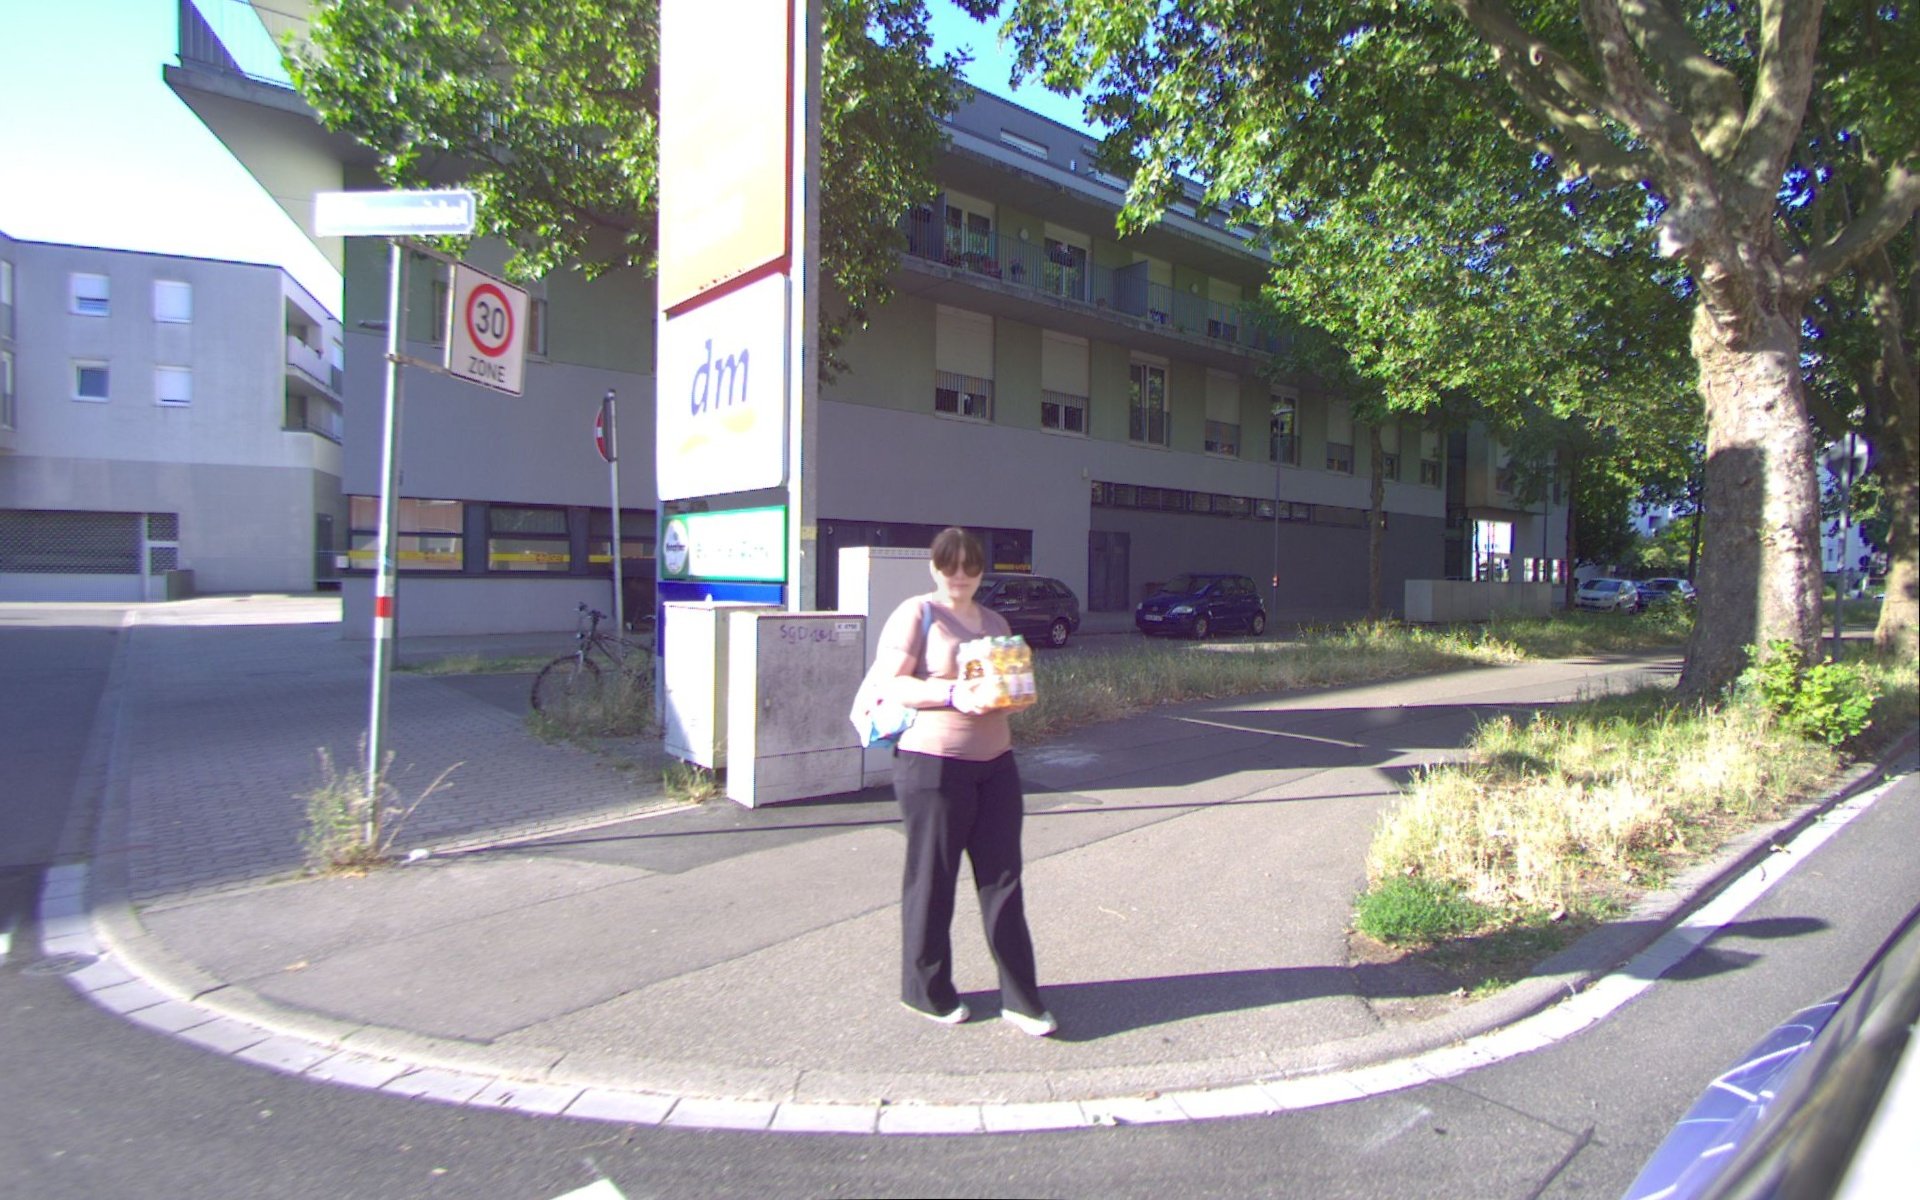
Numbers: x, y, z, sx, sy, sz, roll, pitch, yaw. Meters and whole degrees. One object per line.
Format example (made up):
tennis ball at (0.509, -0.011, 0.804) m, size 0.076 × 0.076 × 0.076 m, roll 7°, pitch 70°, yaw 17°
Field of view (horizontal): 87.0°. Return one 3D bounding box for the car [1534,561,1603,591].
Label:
car at (35.730, -1.400, 59.463) m, size 3.483 × 1.473 × 1.679 m, roll 4°, pitch 0°, yaw -23°

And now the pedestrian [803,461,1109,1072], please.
pedestrian at (0.000, 0.460, 3.398) m, size 0.763 × 1.782 × 0.658 m, roll 3°, pitch 3°, yaw 27°

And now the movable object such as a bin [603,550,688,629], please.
movable object such as a bin at (-6.188, -0.223, 19.898) m, size 1.379 × 1.481 × 1.199 m, roll 0°, pitch 2°, yaw -28°

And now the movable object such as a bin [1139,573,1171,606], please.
movable object such as a bin at (5.861, -0.316, 30.427) m, size 0.651 × 0.954 × 0.630 m, roll 0°, pitch 2°, yaw -39°

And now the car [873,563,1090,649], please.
car at (0.485, 0.061, 19.724) m, size 4.053 × 1.486 × 1.862 m, roll -1°, pitch 2°, yaw -42°

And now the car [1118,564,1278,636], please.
car at (5.711, -0.044, 24.120) m, size 3.692 × 1.572 × 1.863 m, roll -1°, pitch 2°, yaw -40°

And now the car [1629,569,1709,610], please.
car at (32.548, -0.497, 46.421) m, size 4.243 × 1.793 × 1.909 m, roll -1°, pitch 2°, yaw -40°

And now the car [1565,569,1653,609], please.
car at (26.985, -0.480, 42.011) m, size 4.243 × 1.562 × 1.863 m, roll -1°, pitch 2°, yaw -40°

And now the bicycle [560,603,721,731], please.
bicycle at (-2.822, 0.554, 9.064) m, size 0.381 × 1.016 × 1.469 m, roll 2°, pitch 2°, yaw 33°

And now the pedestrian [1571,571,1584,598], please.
pedestrian at (41.904, -1.061, 68.677) m, size 0.521 × 1.773 × 0.561 m, roll -2°, pitch 2°, yaw -28°
